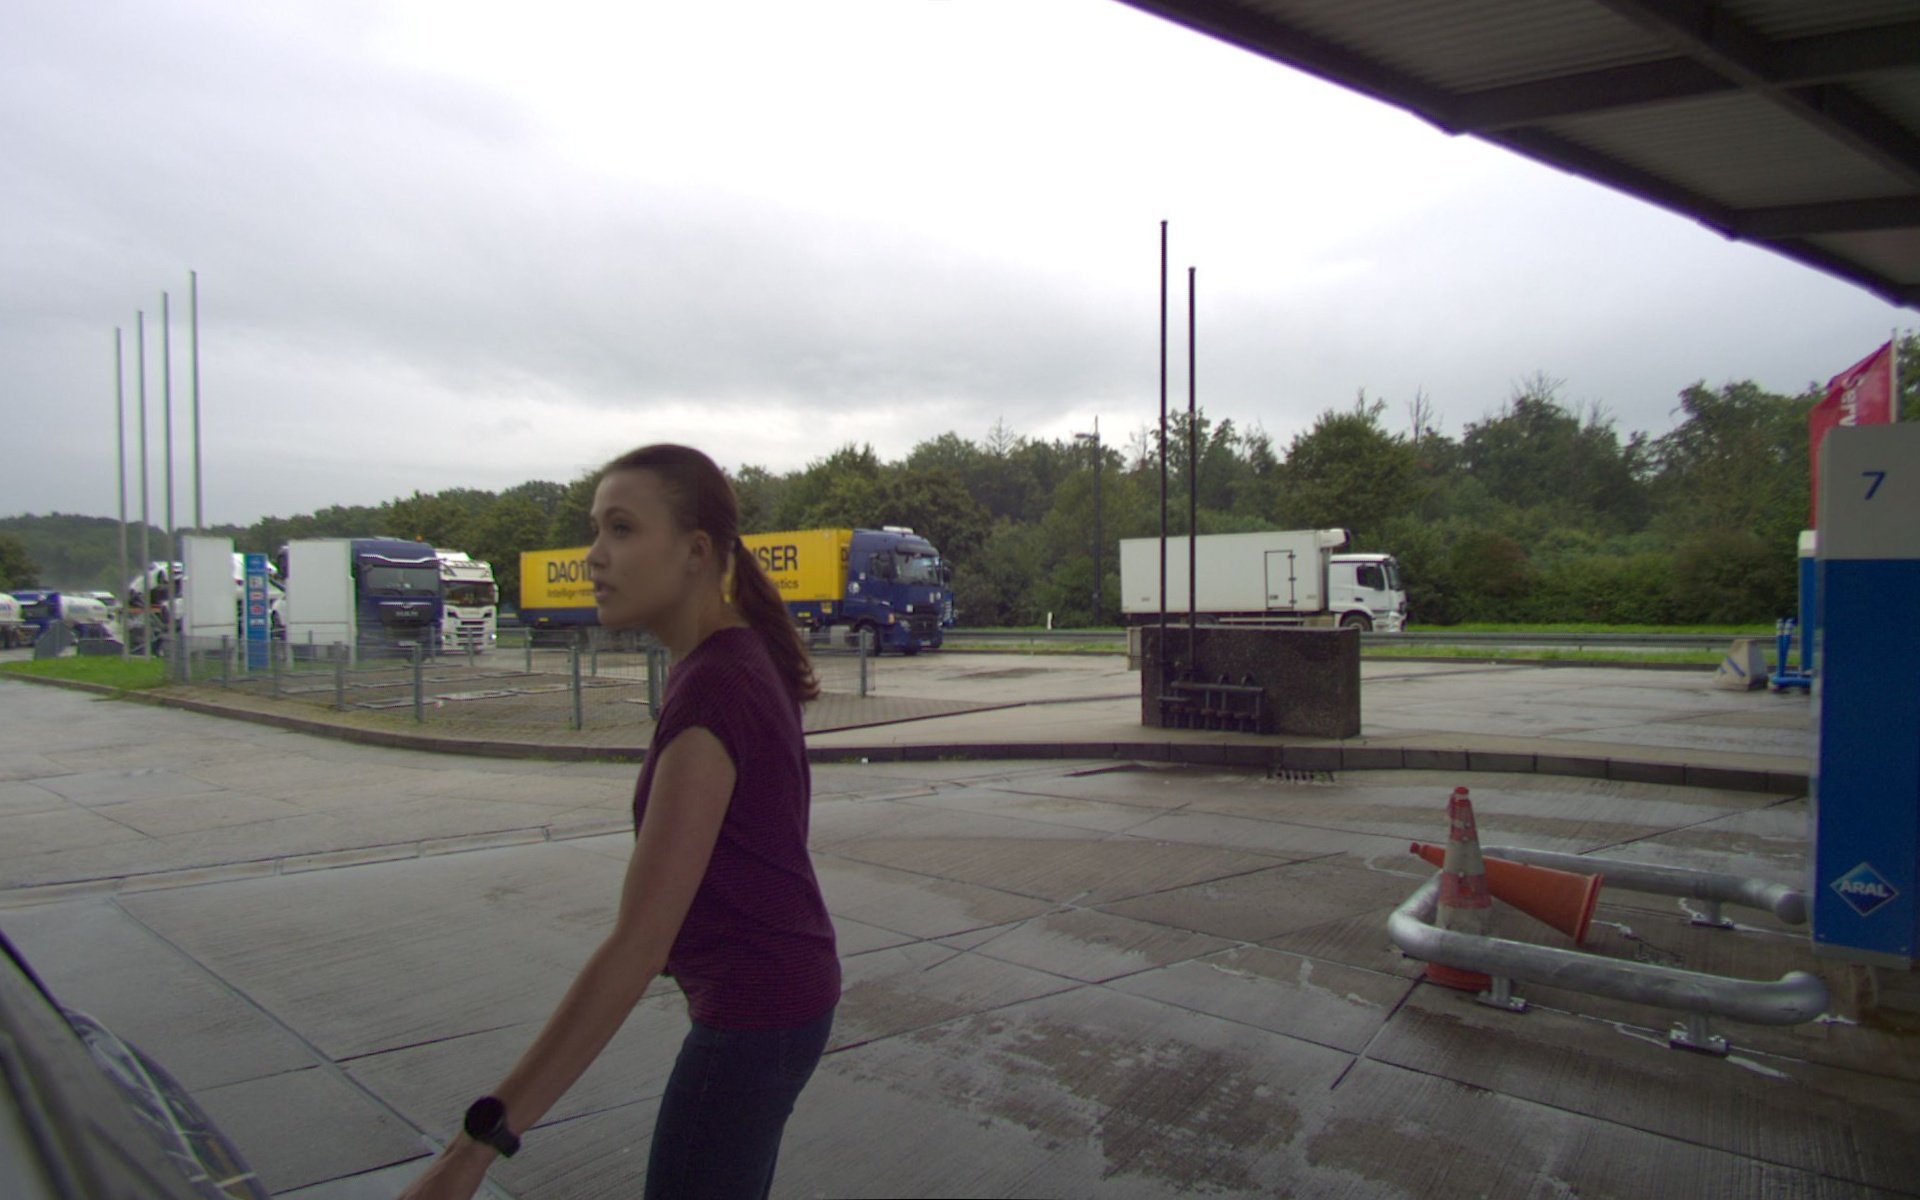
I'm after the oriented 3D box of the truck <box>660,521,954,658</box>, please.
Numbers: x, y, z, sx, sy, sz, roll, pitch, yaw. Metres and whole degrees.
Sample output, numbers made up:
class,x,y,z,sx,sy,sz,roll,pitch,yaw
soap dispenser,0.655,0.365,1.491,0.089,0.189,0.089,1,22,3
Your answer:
class,x,y,z,sx,sy,sz,roll,pitch,yaw
truck,-5.393,-0.269,33.956,10.608,4.063,2.743,-1,0,33

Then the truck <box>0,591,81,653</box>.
class,x,y,z,sx,sy,sz,roll,pitch,yaw
truck,-59.426,1.377,64.997,3.000,3.795,6.486,-1,0,-27

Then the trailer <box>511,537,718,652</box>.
class,x,y,z,sx,sy,sz,roll,pitch,yaw
trailer,-13.548,-0.164,39.290,8.833,4.063,2.743,-1,0,33

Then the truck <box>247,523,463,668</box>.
class,x,y,z,sx,sy,sz,roll,pitch,yaw
truck,-18.995,-0.111,31.622,7.244,4.063,2.957,-1,0,34

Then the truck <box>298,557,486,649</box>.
class,x,y,z,sx,sy,sz,roll,pitch,yaw
truck,-27.303,0.179,48.447,10.433,4.063,2.961,-1,0,30

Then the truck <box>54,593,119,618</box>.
class,x,y,z,sx,sy,sz,roll,pitch,yaw
truck,-132.208,0.821,153.069,16.515,3.591,3.215,-1,0,34

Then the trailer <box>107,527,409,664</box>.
class,x,y,z,sx,sy,sz,roll,pitch,yaw
trailer,-25.419,-0.053,35.925,16.563,4.063,2.957,-1,0,34

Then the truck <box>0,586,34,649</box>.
class,x,y,z,sx,sy,sz,roll,pitch,yaw
truck,-55.560,1.024,55.018,3.196,3.591,12.013,-1,0,-19

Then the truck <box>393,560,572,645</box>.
class,x,y,z,sx,sy,sz,roll,pitch,yaw
truck,-24.782,0.144,52.276,10.433,4.063,2.961,-1,0,30

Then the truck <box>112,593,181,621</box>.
class,x,y,z,sx,sy,sz,roll,pitch,yaw
truck,-112.509,1.006,139.856,14.626,3.591,3.215,-1,-1,34

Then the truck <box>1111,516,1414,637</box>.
class,x,y,z,sx,sy,sz,roll,pitch,yaw
truck,11.070,-0.736,37.699,10.433,4.063,2.961,-1,0,30

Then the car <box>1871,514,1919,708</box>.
class,x,y,z,sx,sy,sz,roll,pitch,yaw
car,14.876,0.112,12.388,5.272,2.482,2.298,-1,-2,37

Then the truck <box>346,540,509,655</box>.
class,x,y,z,sx,sy,sz,roll,pitch,yaw
truck,-20.537,-0.072,38.916,6.730,4.063,2.954,-1,0,37

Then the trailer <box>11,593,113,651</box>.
class,x,y,z,sx,sy,sz,roll,pitch,yaw
trailer,-62.271,1.440,70.484,2.854,3.666,10.605,-1,0,-28

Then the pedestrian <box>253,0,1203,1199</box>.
class,x,y,z,sx,sy,sz,roll,pitch,yaw
pedestrian,-0.267,0.315,1.237,0.839,1.747,0.786,-1,-1,40

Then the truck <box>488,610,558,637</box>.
class,x,y,z,sx,sy,sz,roll,pitch,yaw
truck,-40.459,2.183,93.723,6.158,2.321,3.101,-1,-1,33

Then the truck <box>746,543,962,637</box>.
class,x,y,z,sx,sy,sz,roll,pitch,yaw
truck,-5.143,-0.403,47.691,10.433,4.063,2.961,-1,0,30
